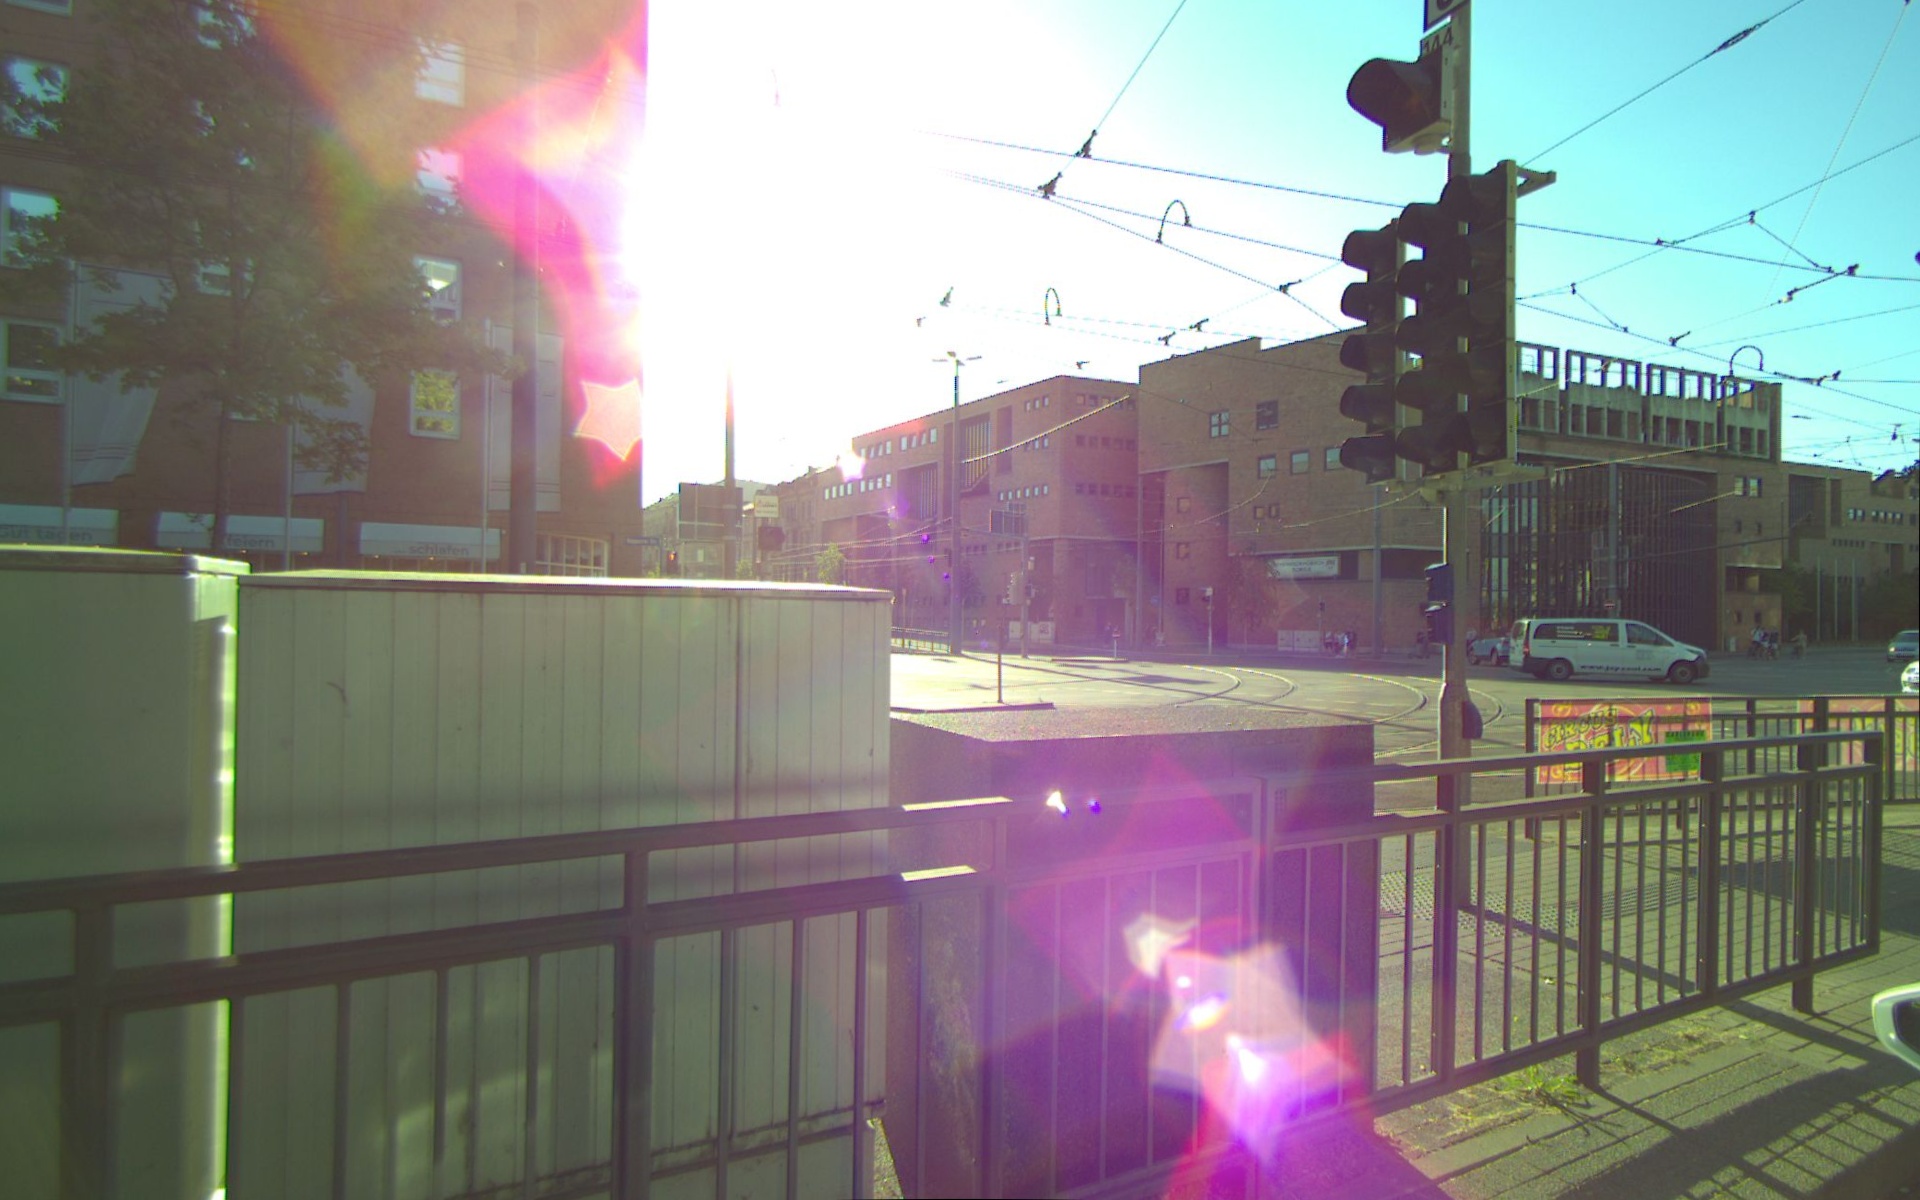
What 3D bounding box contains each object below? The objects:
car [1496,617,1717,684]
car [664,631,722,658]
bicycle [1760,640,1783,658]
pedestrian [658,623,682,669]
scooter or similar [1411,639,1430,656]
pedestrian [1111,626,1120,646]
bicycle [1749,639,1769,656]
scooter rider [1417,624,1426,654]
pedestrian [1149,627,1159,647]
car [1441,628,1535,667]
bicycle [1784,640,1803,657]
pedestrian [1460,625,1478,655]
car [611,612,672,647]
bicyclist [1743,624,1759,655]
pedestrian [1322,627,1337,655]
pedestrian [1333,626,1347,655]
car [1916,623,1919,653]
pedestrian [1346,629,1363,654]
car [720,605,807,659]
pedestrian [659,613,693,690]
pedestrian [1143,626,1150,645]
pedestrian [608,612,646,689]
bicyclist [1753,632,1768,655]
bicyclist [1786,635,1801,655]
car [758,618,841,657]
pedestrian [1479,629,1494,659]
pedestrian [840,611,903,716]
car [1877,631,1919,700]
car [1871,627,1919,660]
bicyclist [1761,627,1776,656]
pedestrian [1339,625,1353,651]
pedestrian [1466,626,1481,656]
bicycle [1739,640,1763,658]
[{"bbox_3d":[19.296,1.467,30.245,5.223,1.873,1.968,0,-1,15],"label":"car"},{"bbox_3d":[-14.342,2.374,53.862,1.729,1.372,3.960,1,-2,-36],"label":"car"},{"bbox_3d":[45.012,2.719,55.712,1.557,0.976,0.470,1,-1,-30],"label":"bicycle"},{"bbox_3d":[-10.516,1.659,36.456,0.658,1.669,0.638,1,-1,-34],"label":"pedestrian"},{"bbox_3d":[25.382,2.634,55.379,0.931,0.911,0.176,0,-1,14],"label":"scooter or similar"},{"bbox_3d":[11.681,2.683,75.431,0.463,1.482,0.505,1,-1,-37],"label":"pedestrian"},{"bbox_3d":[46.667,2.793,58.646,1.304,0.976,0.465,1,-1,-30],"label":"bicycle"},{"bbox_3d":[25.428,2.157,55.375,0.429,1.669,0.229,0,-1,15],"label":"scooter rider"},{"bbox_3d":[14.767,2.815,76.566,0.552,1.445,0.553,1,-1,-40],"label":"pedestrian"},{"bbox_3d":[22.565,2.001,43.112,1.964,1.595,3.720,0,-1,-3],"label":"car"},{"bbox_3d":[49.402,2.887,59.544,1.332,0.976,0.449,1,-1,-30],"label":"bicycle"},{"bbox_3d":[29.139,2.273,57.509,0.611,1.706,0.650,1,-1,-11],"label":"pedestrian"},{"bbox_3d":[-20.004,1.831,62.910,1.982,2.122,5.156,1,-2,-38],"label":"car"},{"bbox_3d":[44.417,2.211,56.405,0.574,1.754,0.534,1,-1,-30],"label":"bicyclist"},{"bbox_3d":[21.494,2.370,58.503,0.582,1.635,0.593,1,-1,-31],"label":"pedestrian"},{"bbox_3d":[21.797,2.324,57.613,0.543,1.670,0.596,1,-1,-30],"label":"pedestrian"},{"bbox_3d":[55.257,2.108,55.899,3.954,1.661,1.983,1,-2,-31],"label":"car"},{"bbox_3d":[22.259,2.334,56.707,0.670,1.357,0.603,1,-1,-14],"label":"pedestrian"},{"bbox_3d":[-9.458,1.511,47.966,1.982,2.419,5.156,1,-2,-38],"label":"car"},{"bbox_3d":[-7.087,1.270,25.058,0.647,1.864,0.835,1,-1,-28],"label":"pedestrian"},{"bbox_3d":[14.365,2.733,77.315,0.523,1.482,0.591,0,-1,17],"label":"pedestrian"},{"bbox_3d":[-8.136,1.208,24.523,0.713,1.837,0.904,1,-1,-28],"label":"pedestrian"},{"bbox_3d":[46.785,2.530,58.733,0.574,1.321,0.503,1,-1,-30],"label":"bicyclist"},{"bbox_3d":[49.410,2.673,59.553,0.574,1.194,0.503,1,-1,-30],"label":"bicyclist"},{"bbox_3d":[-8.338,1.902,51.707,1.982,1.928,5.156,1,-2,-38],"label":"car"},{"bbox_3d":[29.554,2.458,56.388,0.540,1.706,0.592,0,-1,-6],"label":"pedestrian"},{"bbox_3d":[-1.473,1.032,16.662,0.709,1.669,0.953,1,-1,-30],"label":"pedestrian"},{"bbox_3d":[23.163,1.459,22.063,4.222,1.508,1.762,0,-1,7],"label":"car"},{"bbox_3d":[48.987,2.221,51.785,3.954,1.661,1.983,1,-2,-31],"label":"car"},{"bbox_3d":[44.973,2.303,55.874,0.574,1.624,0.456,1,-1,-30],"label":"bicyclist"},{"bbox_3d":[22.564,2.223,58.671,0.611,1.473,0.562,2,-2,-45],"label":"pedestrian"},{"bbox_3d":[29.915,2.380,58.510,0.540,1.706,0.572,1,-1,-12],"label":"pedestrian"},{"bbox_3d":[44.424,2.751,56.388,1.568,0.976,0.539,1,-1,-30],"label":"bicycle"}]
